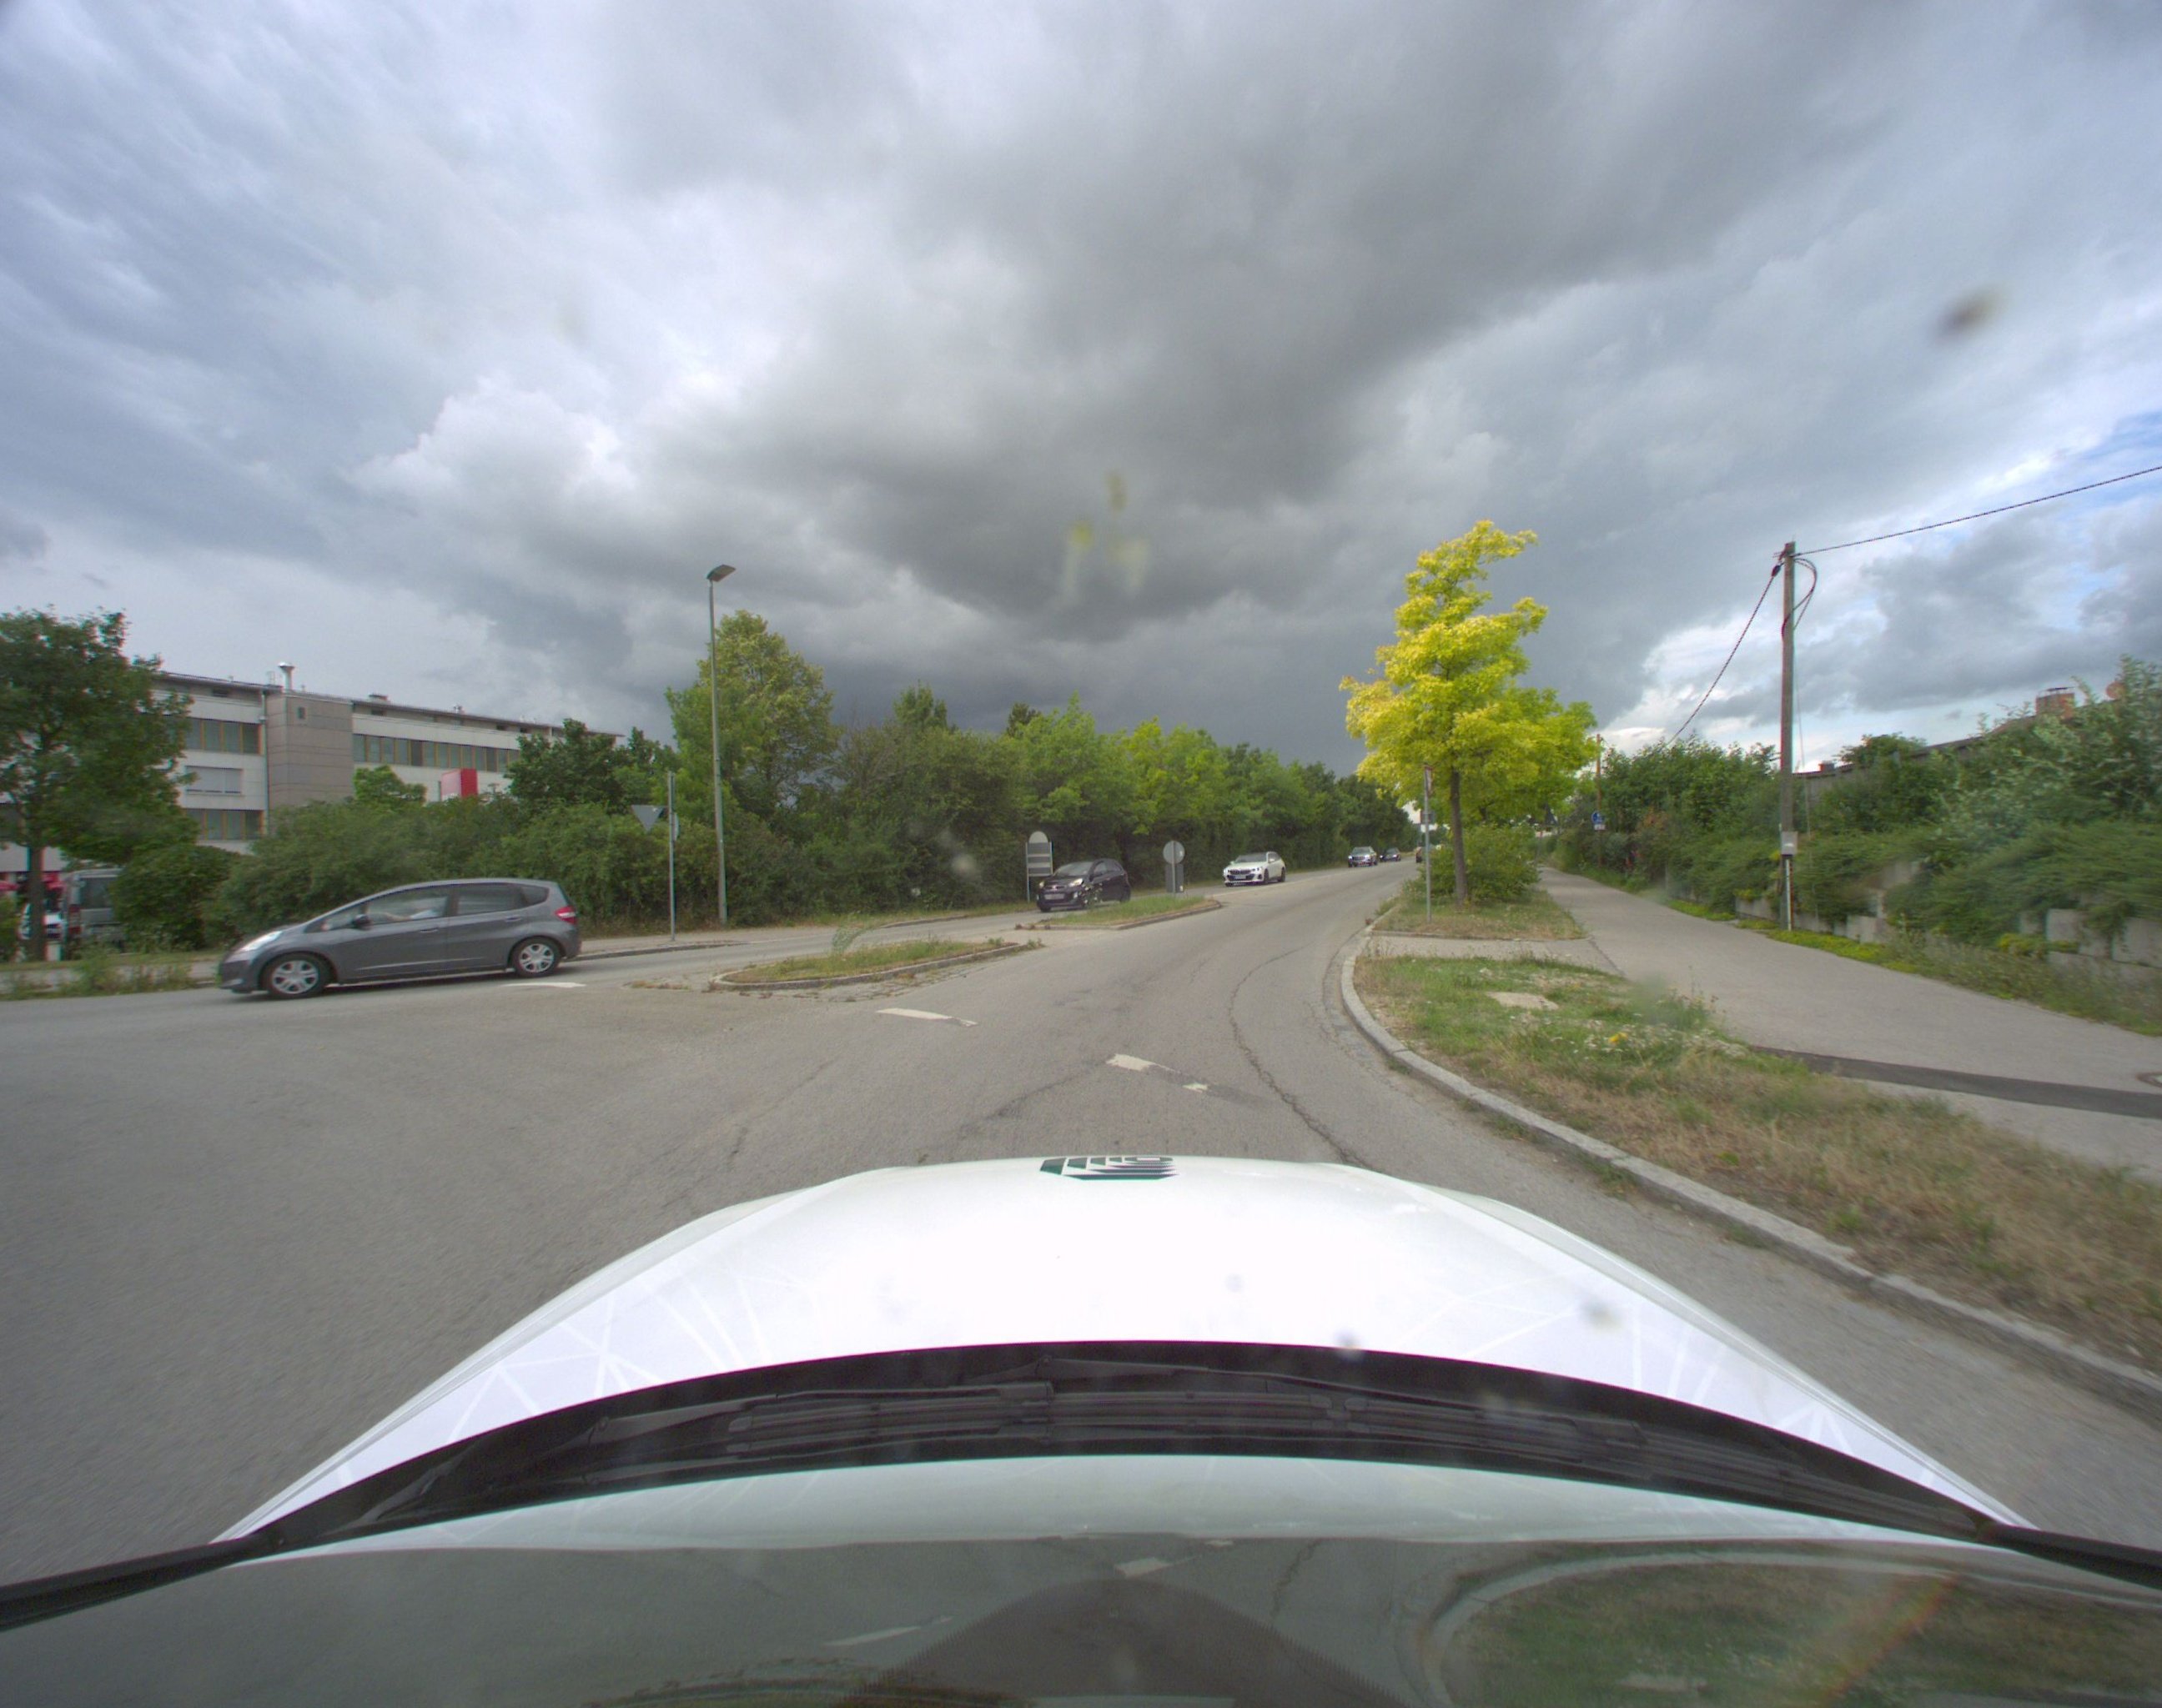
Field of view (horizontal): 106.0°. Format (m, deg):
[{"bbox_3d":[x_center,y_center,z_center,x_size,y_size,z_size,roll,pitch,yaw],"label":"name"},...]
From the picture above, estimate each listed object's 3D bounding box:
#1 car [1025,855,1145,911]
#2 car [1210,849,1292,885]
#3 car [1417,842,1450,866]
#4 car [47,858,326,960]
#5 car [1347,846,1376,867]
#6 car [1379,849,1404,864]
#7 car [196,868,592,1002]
[{"bbox_3d":[0.209,0.802,24.438,1.666,1.454,4.026,0,1,33],"label":"car"},{"bbox_3d":[7.966,0.574,37.843,2.192,1.454,4.974,-3,-1,30],"label":"car"},{"bbox_3d":[30.770,0.043,70.996,2.350,1.881,4.504,-4,-2,26],"label":"car"},{"bbox_3d":[-20.546,1.173,19.013,4.017,2.013,1.978,-2,0,-36],"label":"car"},{"bbox_3d":[23.359,0.206,67.649,1.976,1.601,4.689,-4,-2,21],"label":"car"},{"bbox_3d":[32.498,0.244,85.084,1.975,1.419,4.504,-4,-2,26],"label":"car"},{"bbox_3d":[-9.432,1.013,11.549,4.021,1.423,1.667,-2,-1,-41],"label":"car"}]
